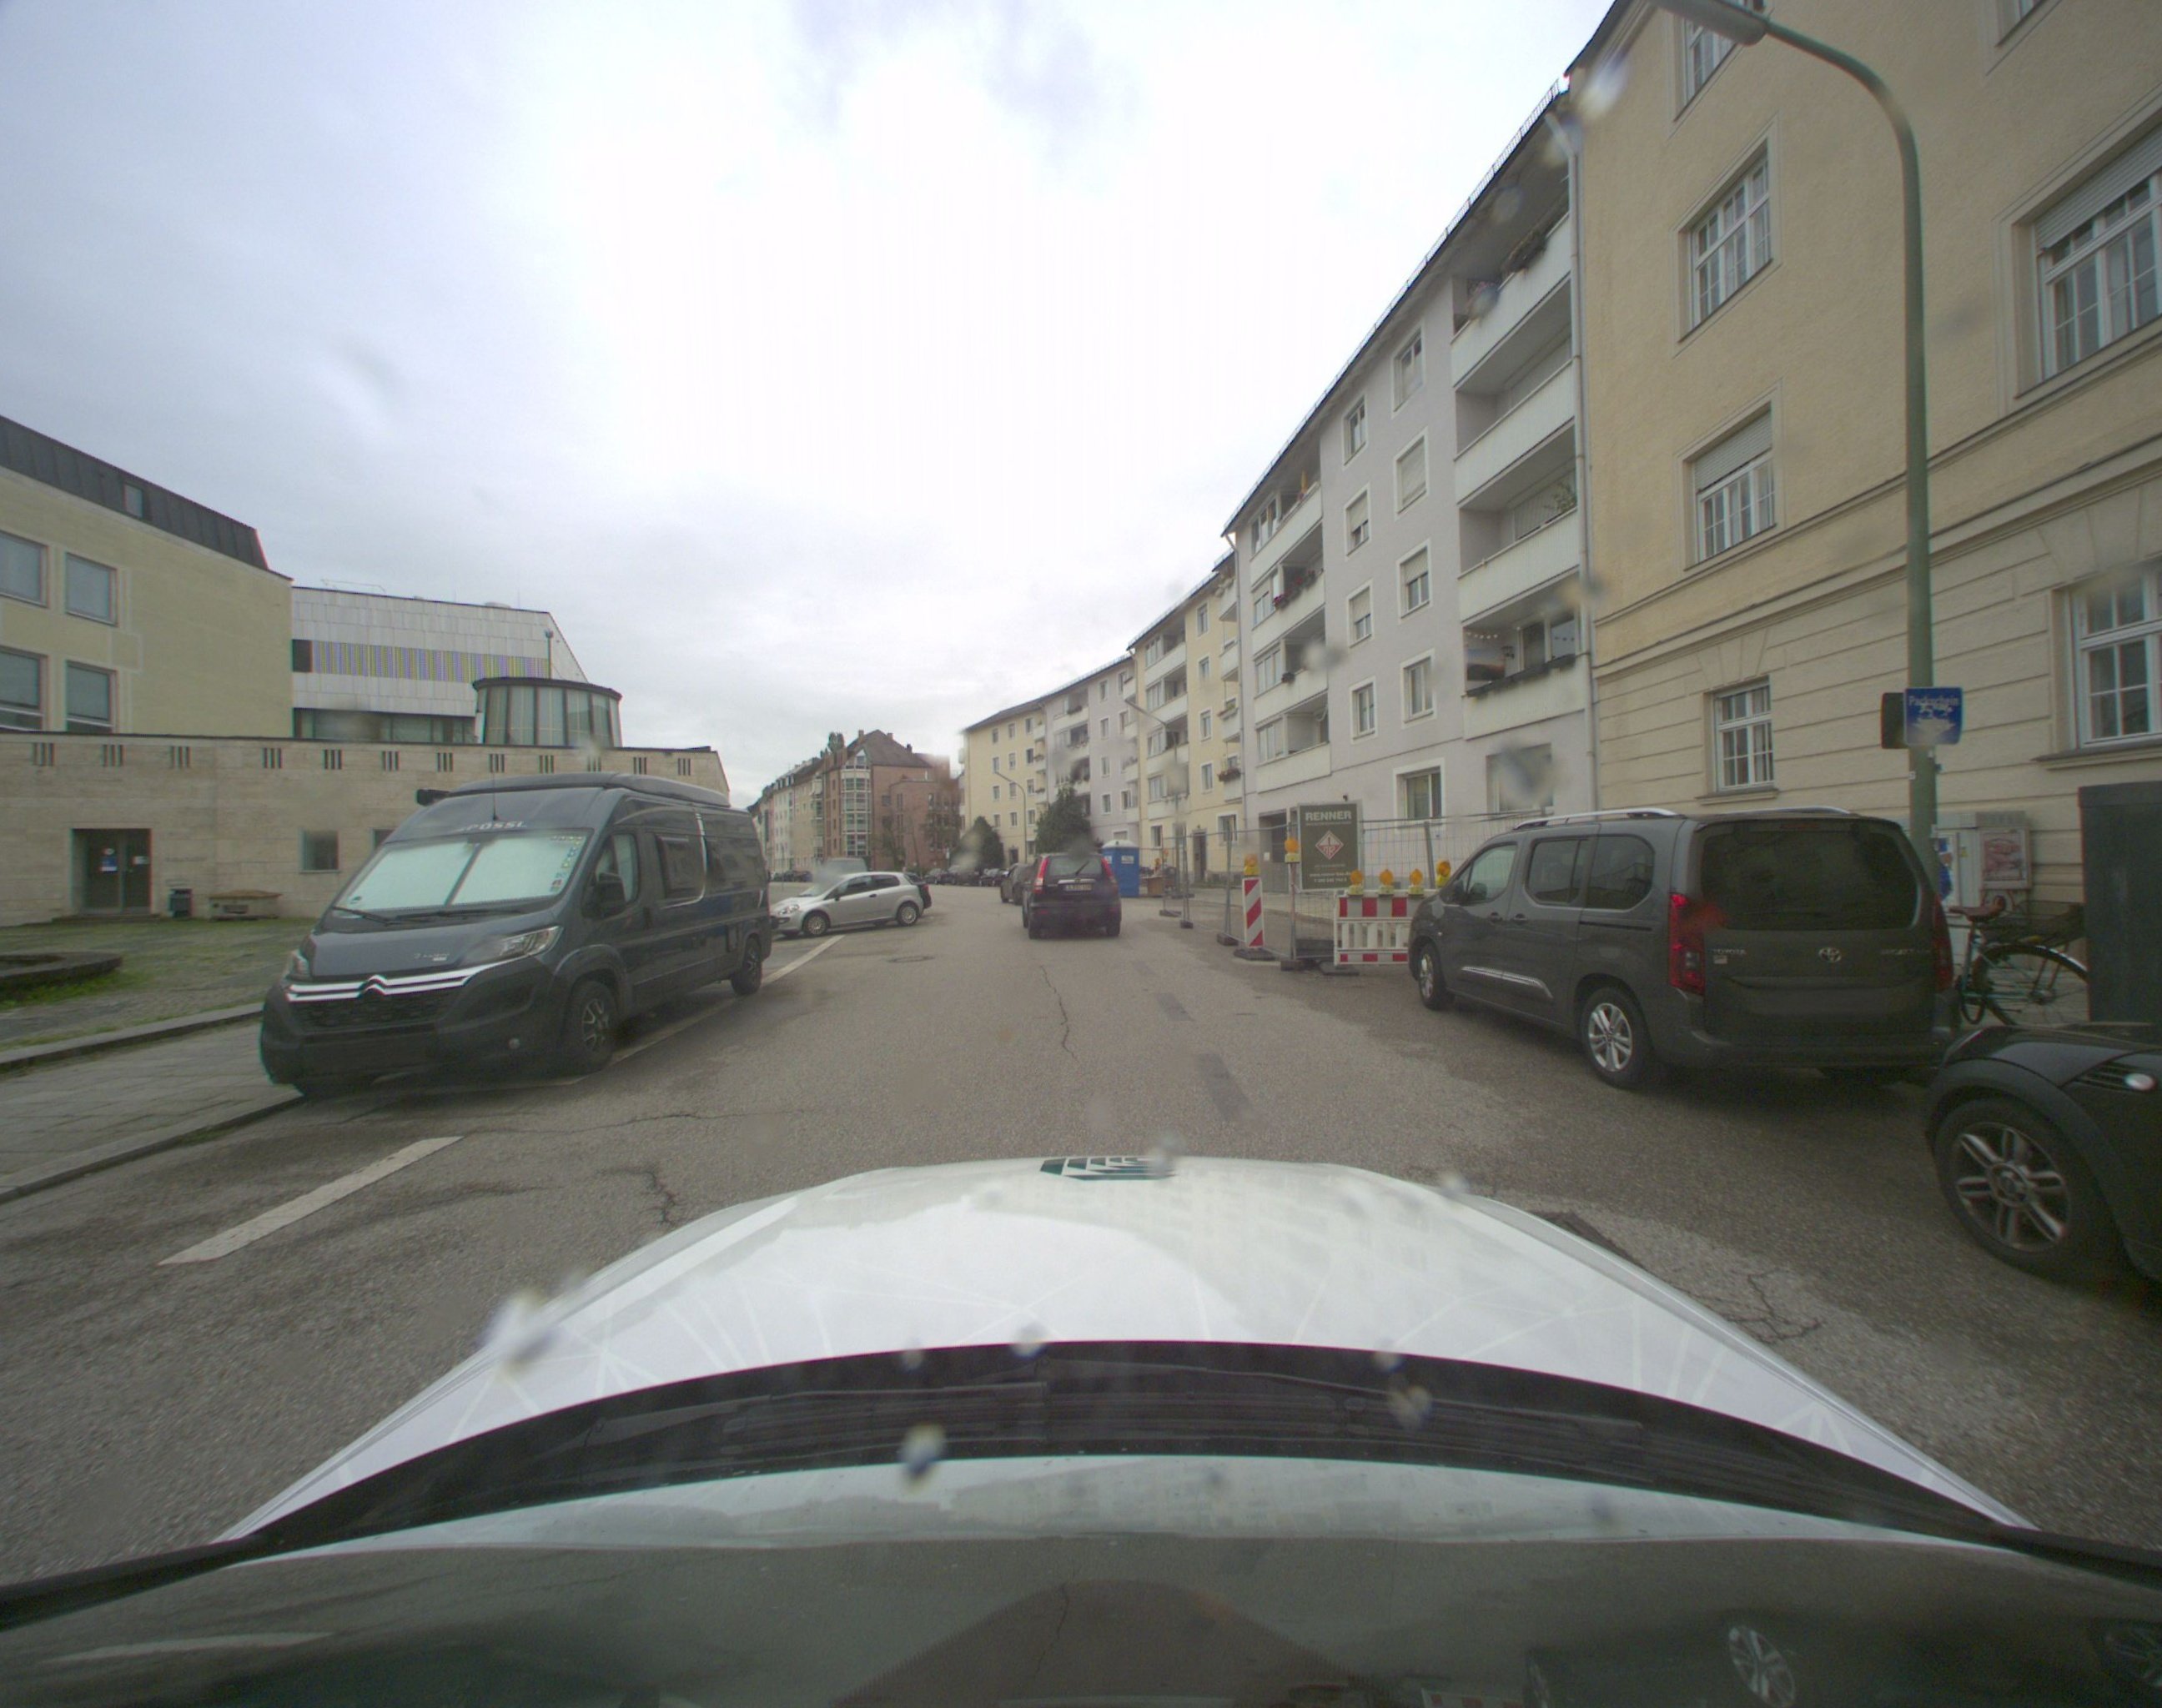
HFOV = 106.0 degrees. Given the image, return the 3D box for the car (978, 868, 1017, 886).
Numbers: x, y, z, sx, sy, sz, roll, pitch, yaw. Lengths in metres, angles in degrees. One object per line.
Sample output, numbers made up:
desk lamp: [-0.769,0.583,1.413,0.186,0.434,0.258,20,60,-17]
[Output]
car: [-5.988,1.609,58.153,1.706,1.236,3.571,0,0,-26]

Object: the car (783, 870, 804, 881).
car: [-40.736,3.005,115.195,1.821,1.472,4.073,0,0,-34]

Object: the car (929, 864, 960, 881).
car: [-11.810,1.612,70.211,1.706,1.389,3.571,0,0,-26]

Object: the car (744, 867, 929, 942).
car: [-6.148,1.240,20.781,4.110,1.481,1.664,-4,-2,-43]

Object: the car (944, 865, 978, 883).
car: [-9.785,1.583,66.302,1.706,1.389,3.571,0,0,-26]

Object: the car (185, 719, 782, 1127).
car: [-5.097,0.448,8.497,2.161,2.641,6.005,-2,0,-6]

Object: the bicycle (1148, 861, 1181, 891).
bicycle: [3.955,1.038,38.877,0.968,1.388,2.557,-1,-1,-7]

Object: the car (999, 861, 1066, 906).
car: [-1.822,1.019,29.511,1.682,1.481,4.066,-1,-1,-14]

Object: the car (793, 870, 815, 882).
car: [-38.029,2.985,111.630,1.821,1.472,4.073,0,0,-34]

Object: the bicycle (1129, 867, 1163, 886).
bicycle: [3.806,1.297,47.682,1.868,1.091,0.563,-1,-1,-14]

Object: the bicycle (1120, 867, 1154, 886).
bicycle: [3.312,1.307,48.365,1.868,1.091,0.643,-1,-1,-14]

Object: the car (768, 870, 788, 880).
car: [-45.713,3.185,122.899,1.821,1.472,4.073,0,0,-34]

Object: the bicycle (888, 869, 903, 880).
bicycle: [-23.061,2.523,101.092,1.761,1.288,0.549,-1,-1,-23]

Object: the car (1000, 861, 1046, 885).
car: [-3.862,1.207,53.947,1.733,1.483,3.966,0,0,-26]

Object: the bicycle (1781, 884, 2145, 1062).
bicycle: [6.247,0.764,5.971,0.577,1.014,1.954,-1,0,2]

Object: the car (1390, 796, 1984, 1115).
car: [4.255,0.588,6.766,1.772,1.807,4.275,0,0,0]

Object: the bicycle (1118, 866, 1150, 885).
bicycle: [3.279,1.324,50.418,1.868,1.091,0.643,-1,-1,-14]

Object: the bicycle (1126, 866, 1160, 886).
bicycle: [3.560,1.255,46.714,1.868,1.091,0.563,-1,-1,-14]

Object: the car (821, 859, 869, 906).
car: [-9.507,1.094,32.604,1.684,1.707,4.484,-1,-1,-19]

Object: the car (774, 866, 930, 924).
car: [-6.668,1.154,23.964,4.108,1.481,1.664,-1,-1,-41]

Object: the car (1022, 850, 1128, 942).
car: [-0.248,0.796,17.060,1.888,1.647,3.983,-1,-1,-5]

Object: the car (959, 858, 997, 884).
car: [-7.918,1.293,62.262,1.733,1.878,3.966,0,0,-26]

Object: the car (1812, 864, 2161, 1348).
car: [4.016,0.762,1.863,1.698,1.447,3.839,0,0,9]
